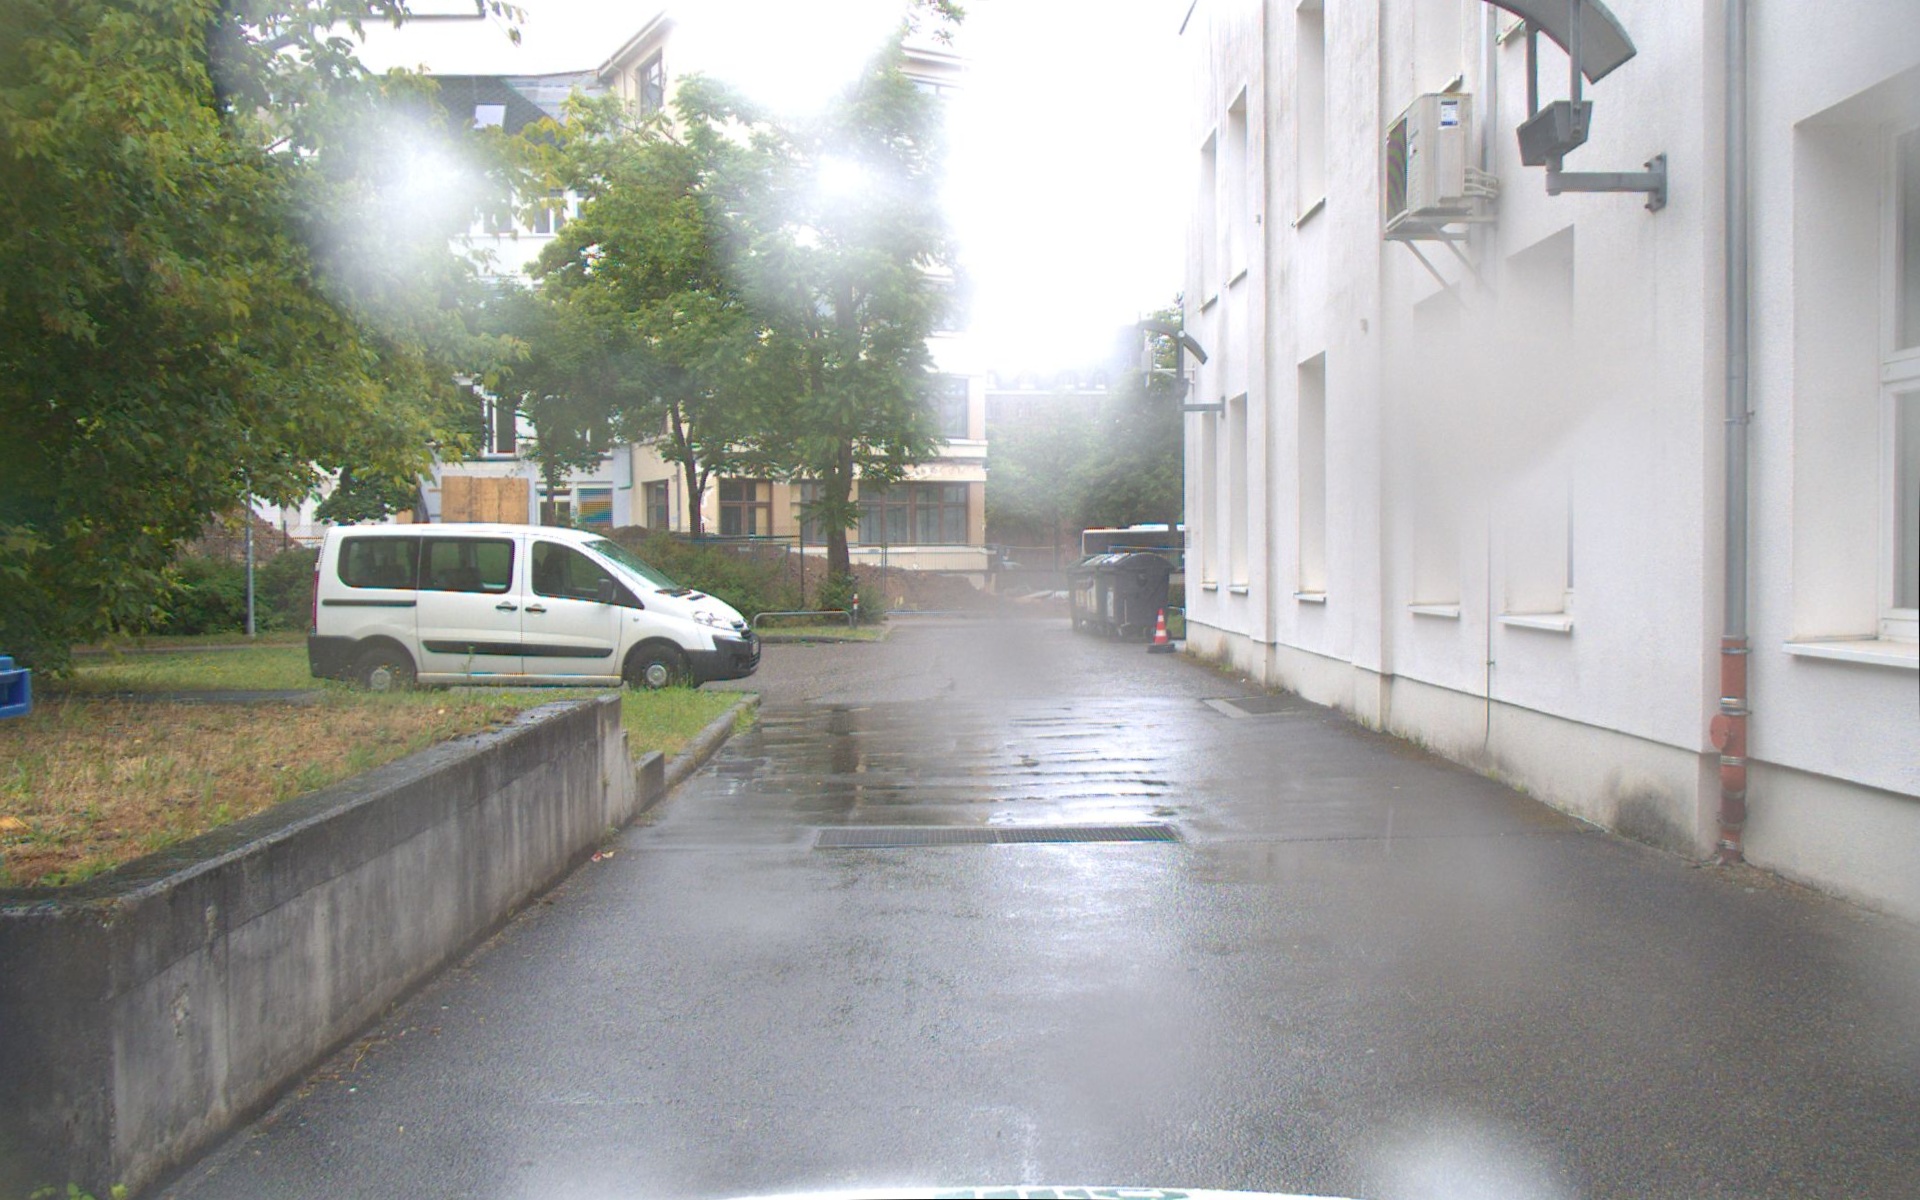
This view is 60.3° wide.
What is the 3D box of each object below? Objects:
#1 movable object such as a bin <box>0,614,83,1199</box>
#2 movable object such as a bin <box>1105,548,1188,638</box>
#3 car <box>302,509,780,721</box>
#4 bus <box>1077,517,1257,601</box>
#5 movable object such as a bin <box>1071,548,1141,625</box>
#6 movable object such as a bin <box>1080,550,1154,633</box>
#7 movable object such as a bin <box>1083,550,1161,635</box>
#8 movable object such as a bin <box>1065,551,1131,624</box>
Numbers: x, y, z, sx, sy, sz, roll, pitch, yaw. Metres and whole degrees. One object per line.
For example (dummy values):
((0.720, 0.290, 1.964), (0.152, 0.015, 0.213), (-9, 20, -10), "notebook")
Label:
((-2.460, 0.741, 2.967), (1.196, 1.360, 1.007), (-1, 2, 0), "movable object such as a bin")
((3.115, -0.107, 27.783), (1.190, 1.462, 1.235), (-1, -1, -3), "movable object such as a bin")
((-4.484, 0.118, 18.289), (4.682, 2.048, 2.000), (-2, 2, 0), "car")
((10.694, -2.037, 87.271), (2.777, 3.941, 11.934), (-1, -1, -30), "bus")
((2.858, -0.261, 32.479), (1.190, 1.462, 1.258), (-1, -1, -3), "movable object such as a bin")
((2.943, -0.150, 31.103), (1.190, 1.494, 1.235), (-1, -1, -3), "movable object such as a bin")
((2.871, -0.125, 29.468), (1.190, 1.462, 1.293), (-1, -1, -3), "movable object such as a bin")
((2.813, -0.245, 33.858), (1.190, 1.462, 1.258), (-1, -1, -3), "movable object such as a bin")
